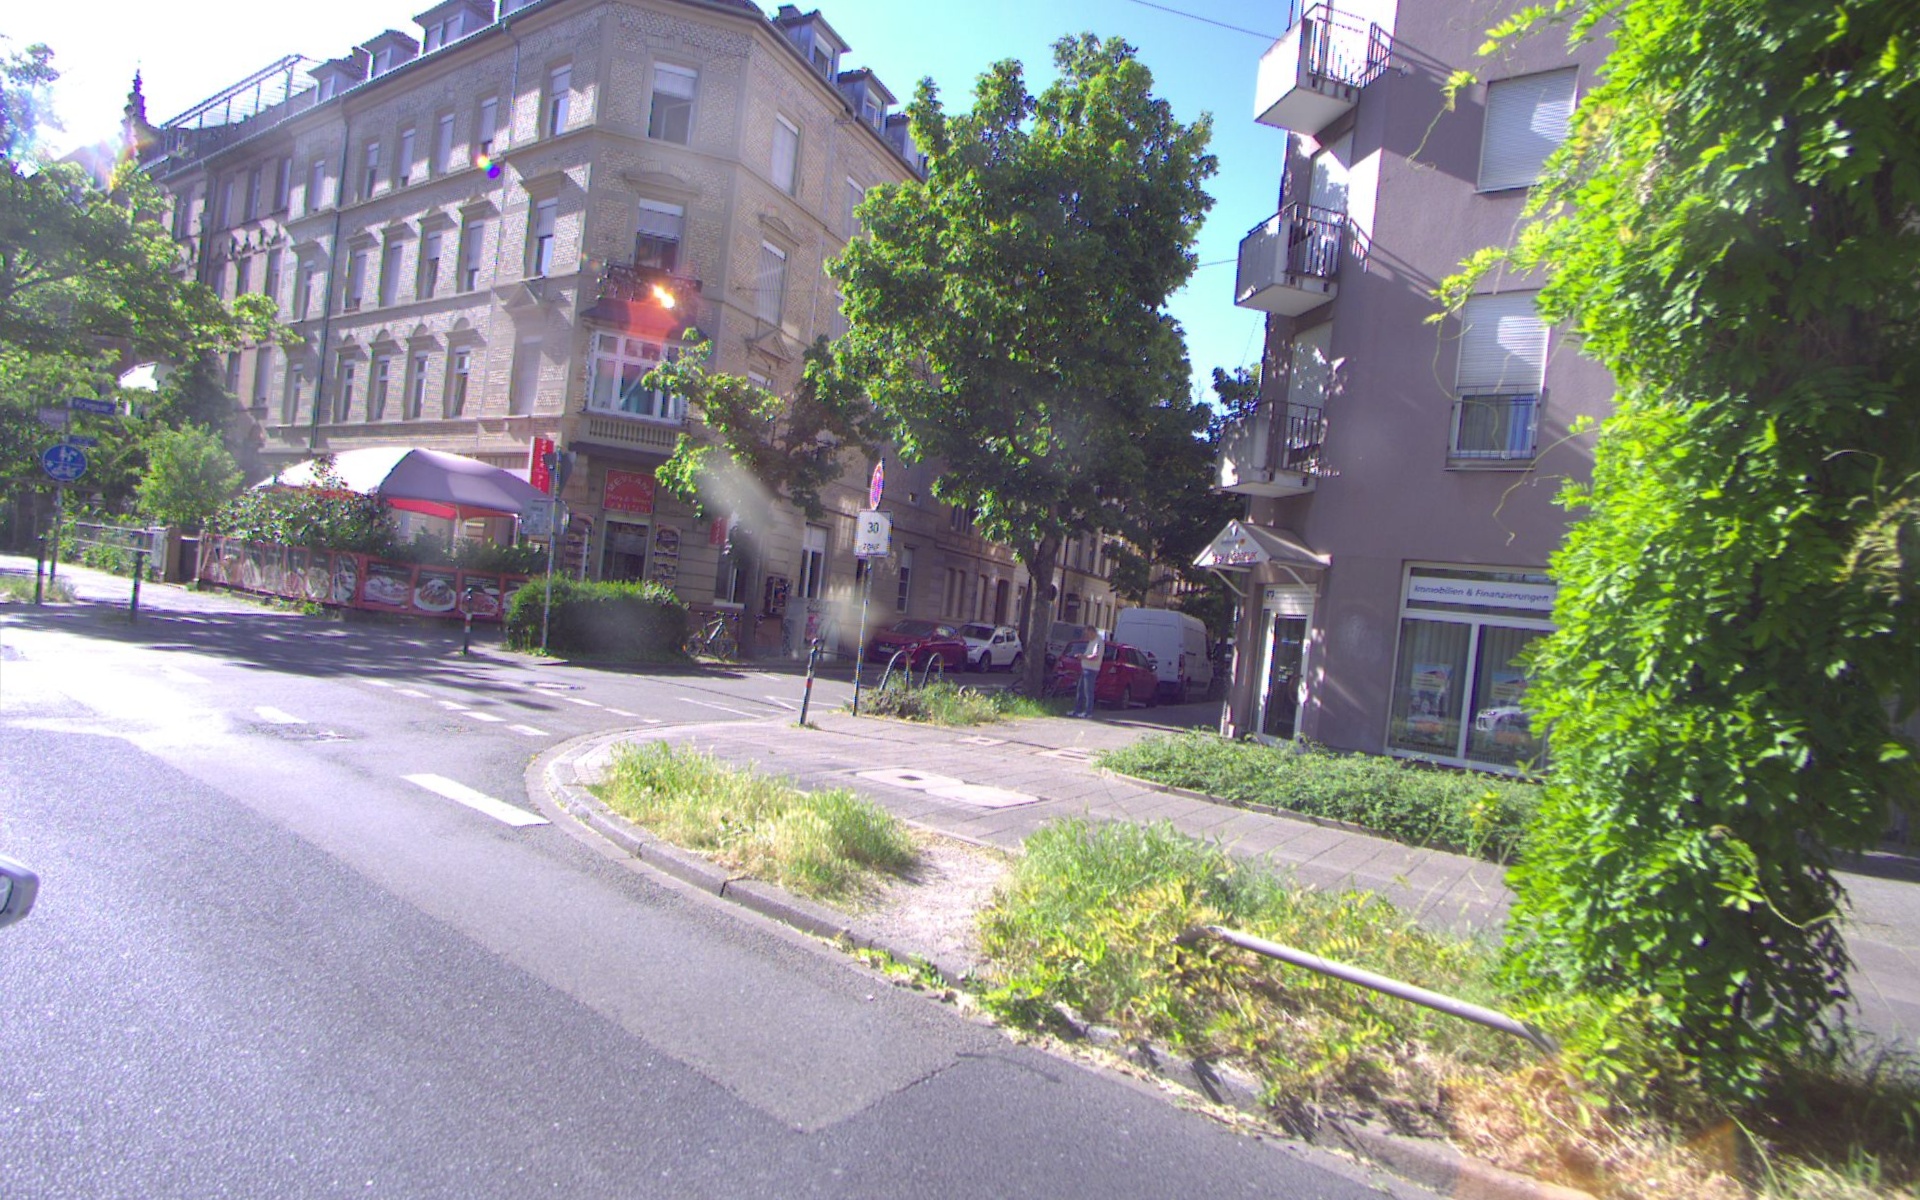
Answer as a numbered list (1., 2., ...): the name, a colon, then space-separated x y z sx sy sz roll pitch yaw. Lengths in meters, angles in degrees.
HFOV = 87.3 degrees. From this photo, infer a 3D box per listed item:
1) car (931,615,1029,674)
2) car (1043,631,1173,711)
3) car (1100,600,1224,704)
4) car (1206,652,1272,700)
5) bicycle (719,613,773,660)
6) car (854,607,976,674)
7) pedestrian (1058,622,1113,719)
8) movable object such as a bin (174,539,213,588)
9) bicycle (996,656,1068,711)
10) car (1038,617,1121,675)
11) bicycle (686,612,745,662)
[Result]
1. car: 0.729 1.519 33.268 1.664 1.614 4.000 6 -2 24
2. car: 3.460 1.598 22.902 1.663 1.480 3.997 6 -1 26
3. car: 5.829 1.480 28.455 2.180 2.481 5.092 6 -1 24
4. car: 10.809 2.913 38.804 1.665 1.576 3.819 6 -1 26
5. bicycle: -4.821 0.831 22.733 0.386 0.986 1.312 6 0 25
6. car: -1.210 1.234 29.221 1.747 1.457 4.001 9 -1 25
7. pedestrian: 2.173 1.212 17.440 0.525 1.596 0.629 6 1 -30
8. movable object such as a bin: -19.084 -0.905 25.055 0.543 1.147 0.568 6 0 36
9. bicycle: 1.291 1.499 18.091 1.182 0.833 0.293 6 0 25
10. car: 5.061 1.973 42.200 1.962 2.052 4.302 6 -2 26
11. bicycle: -5.104 0.790 21.055 0.386 0.986 1.312 6 0 25
